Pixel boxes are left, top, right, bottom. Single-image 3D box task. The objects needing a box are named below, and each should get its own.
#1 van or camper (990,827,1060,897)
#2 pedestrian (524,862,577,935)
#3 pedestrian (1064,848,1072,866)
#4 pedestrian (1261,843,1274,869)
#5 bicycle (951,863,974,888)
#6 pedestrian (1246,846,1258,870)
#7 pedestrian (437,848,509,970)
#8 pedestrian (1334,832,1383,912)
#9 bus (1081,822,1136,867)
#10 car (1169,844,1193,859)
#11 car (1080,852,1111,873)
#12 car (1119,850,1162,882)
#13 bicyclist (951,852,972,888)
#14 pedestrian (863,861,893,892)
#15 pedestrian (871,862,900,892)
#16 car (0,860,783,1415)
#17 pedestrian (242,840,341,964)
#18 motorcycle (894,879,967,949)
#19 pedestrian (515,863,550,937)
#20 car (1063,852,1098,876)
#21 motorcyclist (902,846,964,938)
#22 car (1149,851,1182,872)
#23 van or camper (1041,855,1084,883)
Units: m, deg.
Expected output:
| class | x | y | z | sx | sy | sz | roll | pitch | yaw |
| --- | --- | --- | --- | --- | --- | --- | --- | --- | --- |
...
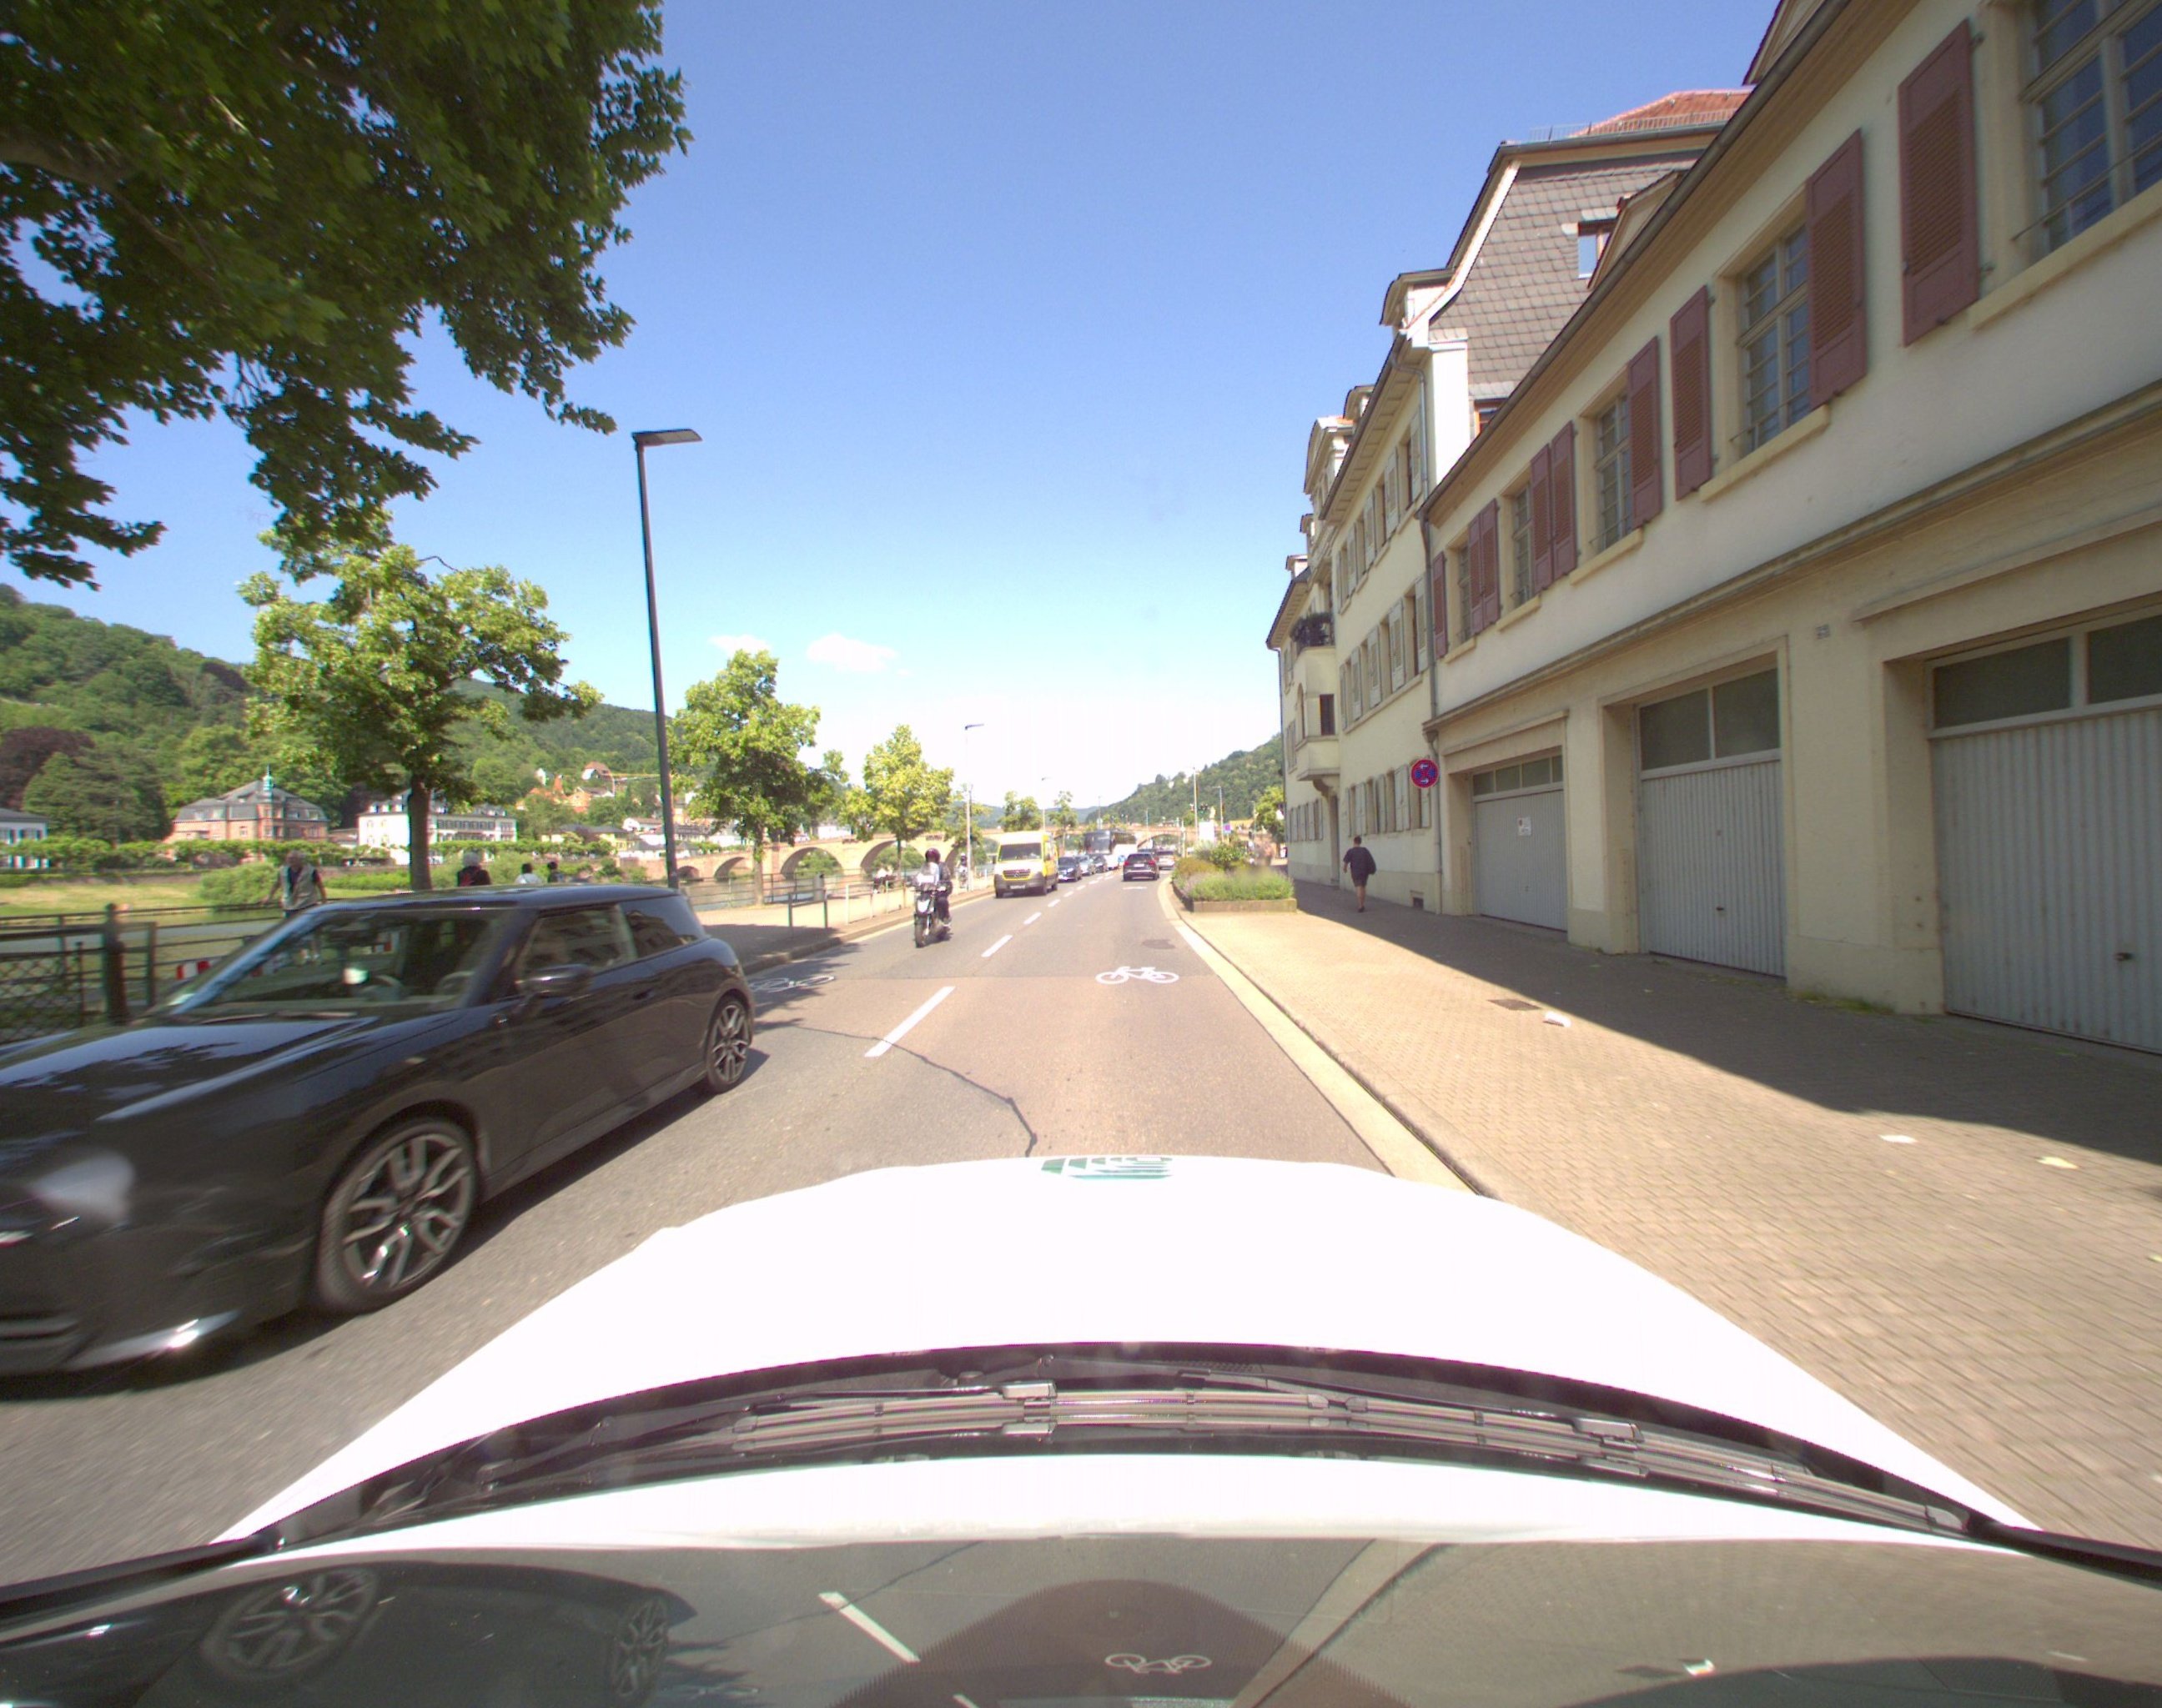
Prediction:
| class | x | y | z | sx | sy | sz | roll | pitch | yaw |
| --- | --- | --- | --- | --- | --- | --- | --- | --- | --- |
| van or camper | -2.200 | 0.321 | 34.125 | 2.079 | 2.557 | 7.096 | -2 | 0 | 2 |
| pedestrian | -12.145 | 1.014 | 18.647 | 0.689 | 1.616 | 0.665 | -2 | -1 | 9 |
| pedestrian | -1.279 | 0.274 | 79.230 | 0.616 | 1.780 | 0.664 | -2 | 0 | 9 |
| pedestrian | 12.545 | 0.151 | 54.898 | 0.733 | 1.698 | 0.936 | -3 | 0 | 9 |
| bicycle | -5.778 | 1.038 | 39.771 | 0.708 | 1.168 | 1.897 | -2 | 1 | 2 |
| pedestrian | 11.594 | 0.259 | 55.212 | 0.757 | 1.595 | 0.697 | -2 | 0 | 9 |
| pedestrian | -8.781 | 0.766 | 11.791 | 0.659 | 1.682 | 0.752 | 1 | -1 | -24 |
| pedestrian | 6.244 | 0.403 | 18.335 | 0.758 | 1.713 | 0.697 | -5 | -1 | 4 |
| bus | 2.680 | -0.751 | 73.128 | 2.613 | 3.564 | 13.025 | -2 | -1 | 12 |
| car | 10.169 | -0.243 | 82.817 | 1.913 | 1.461 | 4.849 | -2 | 0 | 13 |
| car | 1.156 | 0.648 | 62.280 | 1.806 | 1.429 | 4.203 | -3 | 0 | 8 |
| car | 3.314 | 0.594 | 44.309 | 1.915 | 1.553 | 4.843 | -3 | 0 | 8 |
| bicyclist | -5.791 | 0.760 | 39.657 | 0.737 | 1.667 | 1.090 | -2 | 0 | 3 |
| pedestrian | -8.815 | 0.980 | 35.346 | 0.931 | 1.281 | 0.852 | -2 | 0 | 10 |
| pedestrian | -8.658 | 1.010 | 36.153 | 0.931 | 1.281 | 0.852 | -2 | 0 | 10 |
| car | -3.212 | 0.812 | 4.216 | 1.695 | 1.458 | 4.003 | -3 | 0 | 2 |
| pedestrian | -12.913 | 0.760 | 13.350 | 0.691 | 1.945 | 0.887 | -2 | -1 | 0 |
| motorcycle | -2.686 | 1.035 | 14.795 | 0.881 | 1.077 | 2.326 | -3 | -1 | -1 |
| pedestrian | -12.190 | 1.016 | 18.100 | 0.412 | 1.597 | 0.452 | -2 | -1 | 9 |
| car | 0.023 | 0.673 | 56.553 | 1.804 | 1.428 | 4.319 | -4 | 0 | 7 |
| motorcyclist | -2.692 | 0.677 | 14.896 | 0.876 | 1.583 | 1.025 | -2 | 0 | 0 |
| car | 6.545 | 0.575 | 62.423 | 1.913 | 1.461 | 4.849 | -2 | 0 | 13 |
| van or camper | -1.035 | 0.831 | 47.149 | 1.985 | 1.454 | 4.687 | -4 | 0 | 4 |
